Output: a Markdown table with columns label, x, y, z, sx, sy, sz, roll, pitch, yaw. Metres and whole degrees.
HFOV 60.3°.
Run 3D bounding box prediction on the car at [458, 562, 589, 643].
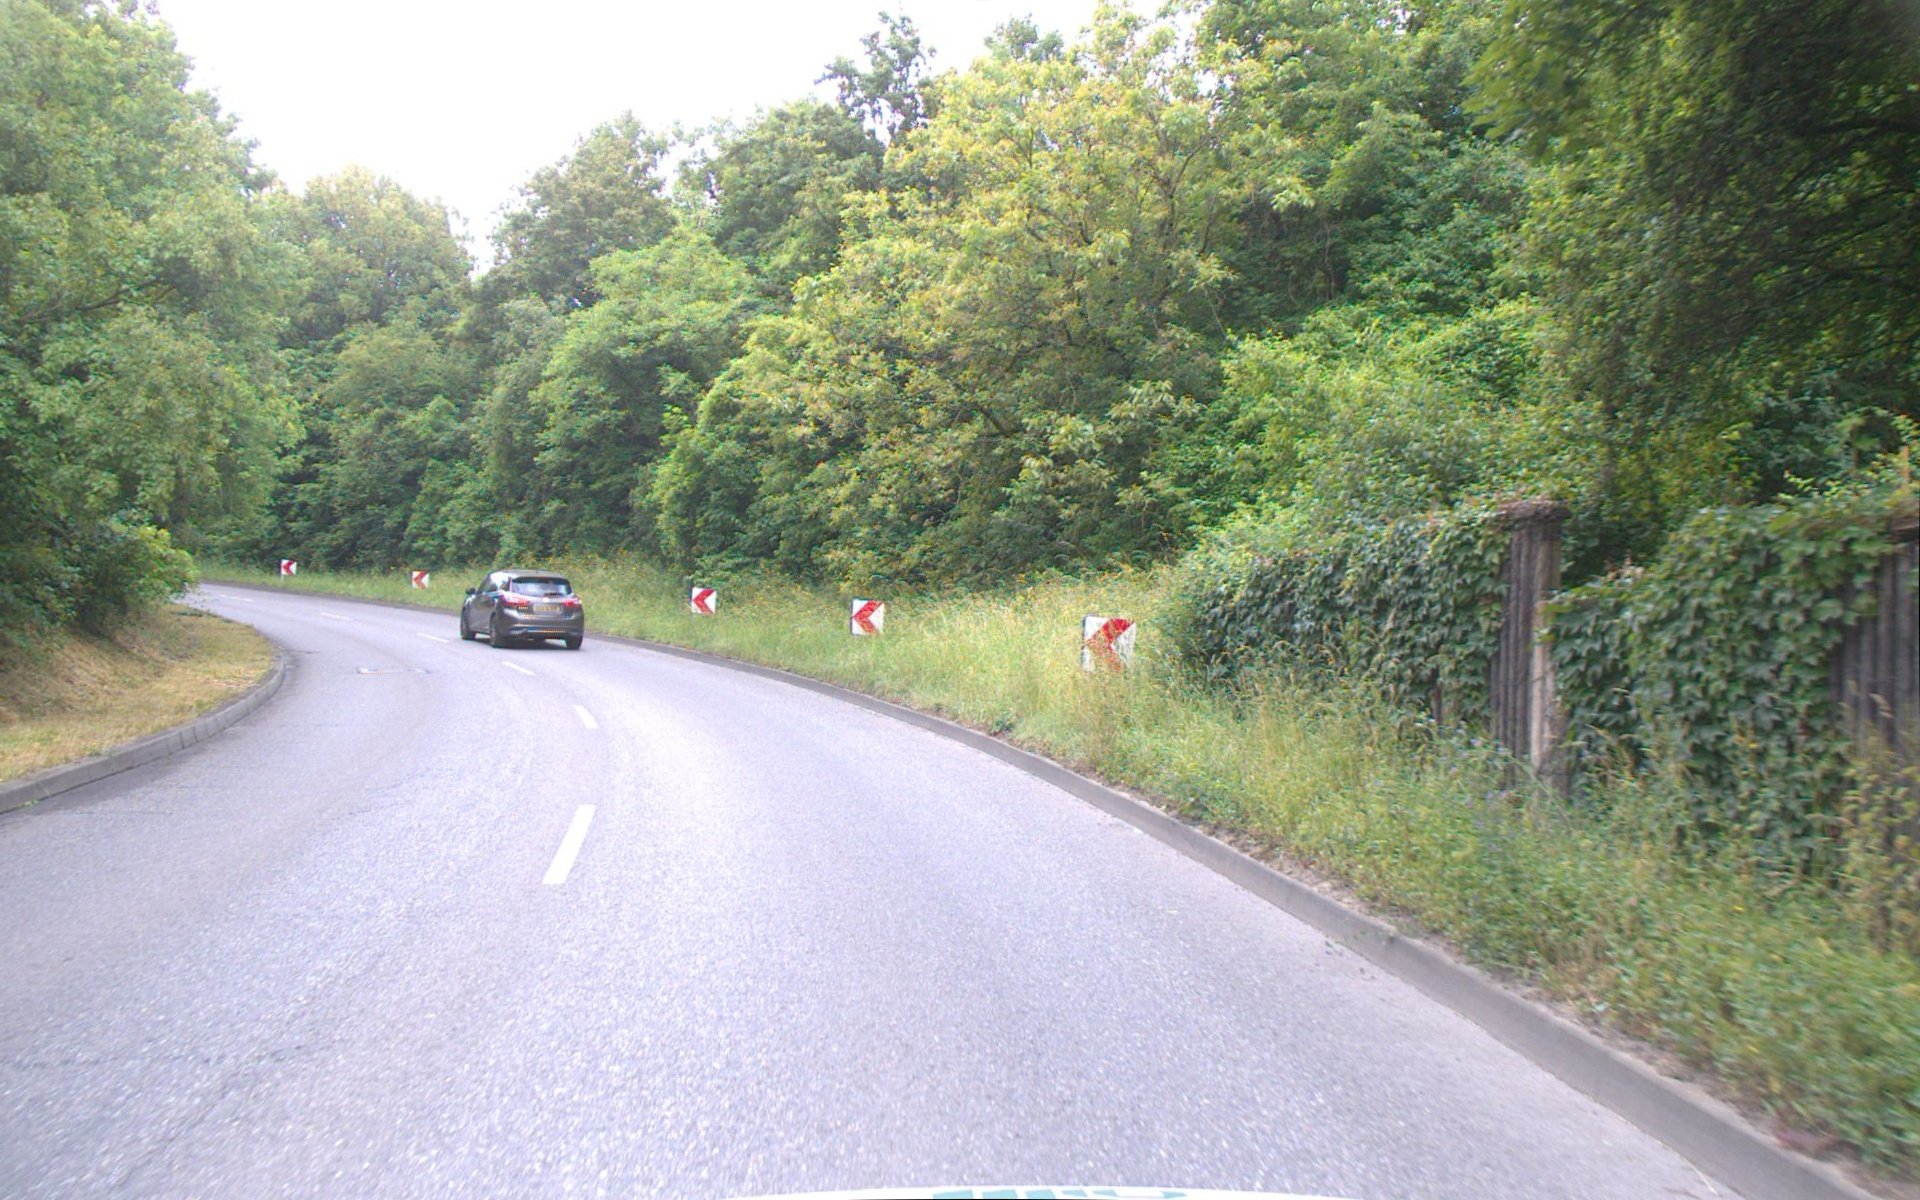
| label | x | y | z | sx | sy | sz | roll | pitch | yaw |
| --- | --- | --- | --- | --- | --- | --- | --- | --- | --- |
| car | -9.031 | 0.020 | 34.035 | 1.817 | 1.509 | 3.966 | 1 | 1 | -27 |
